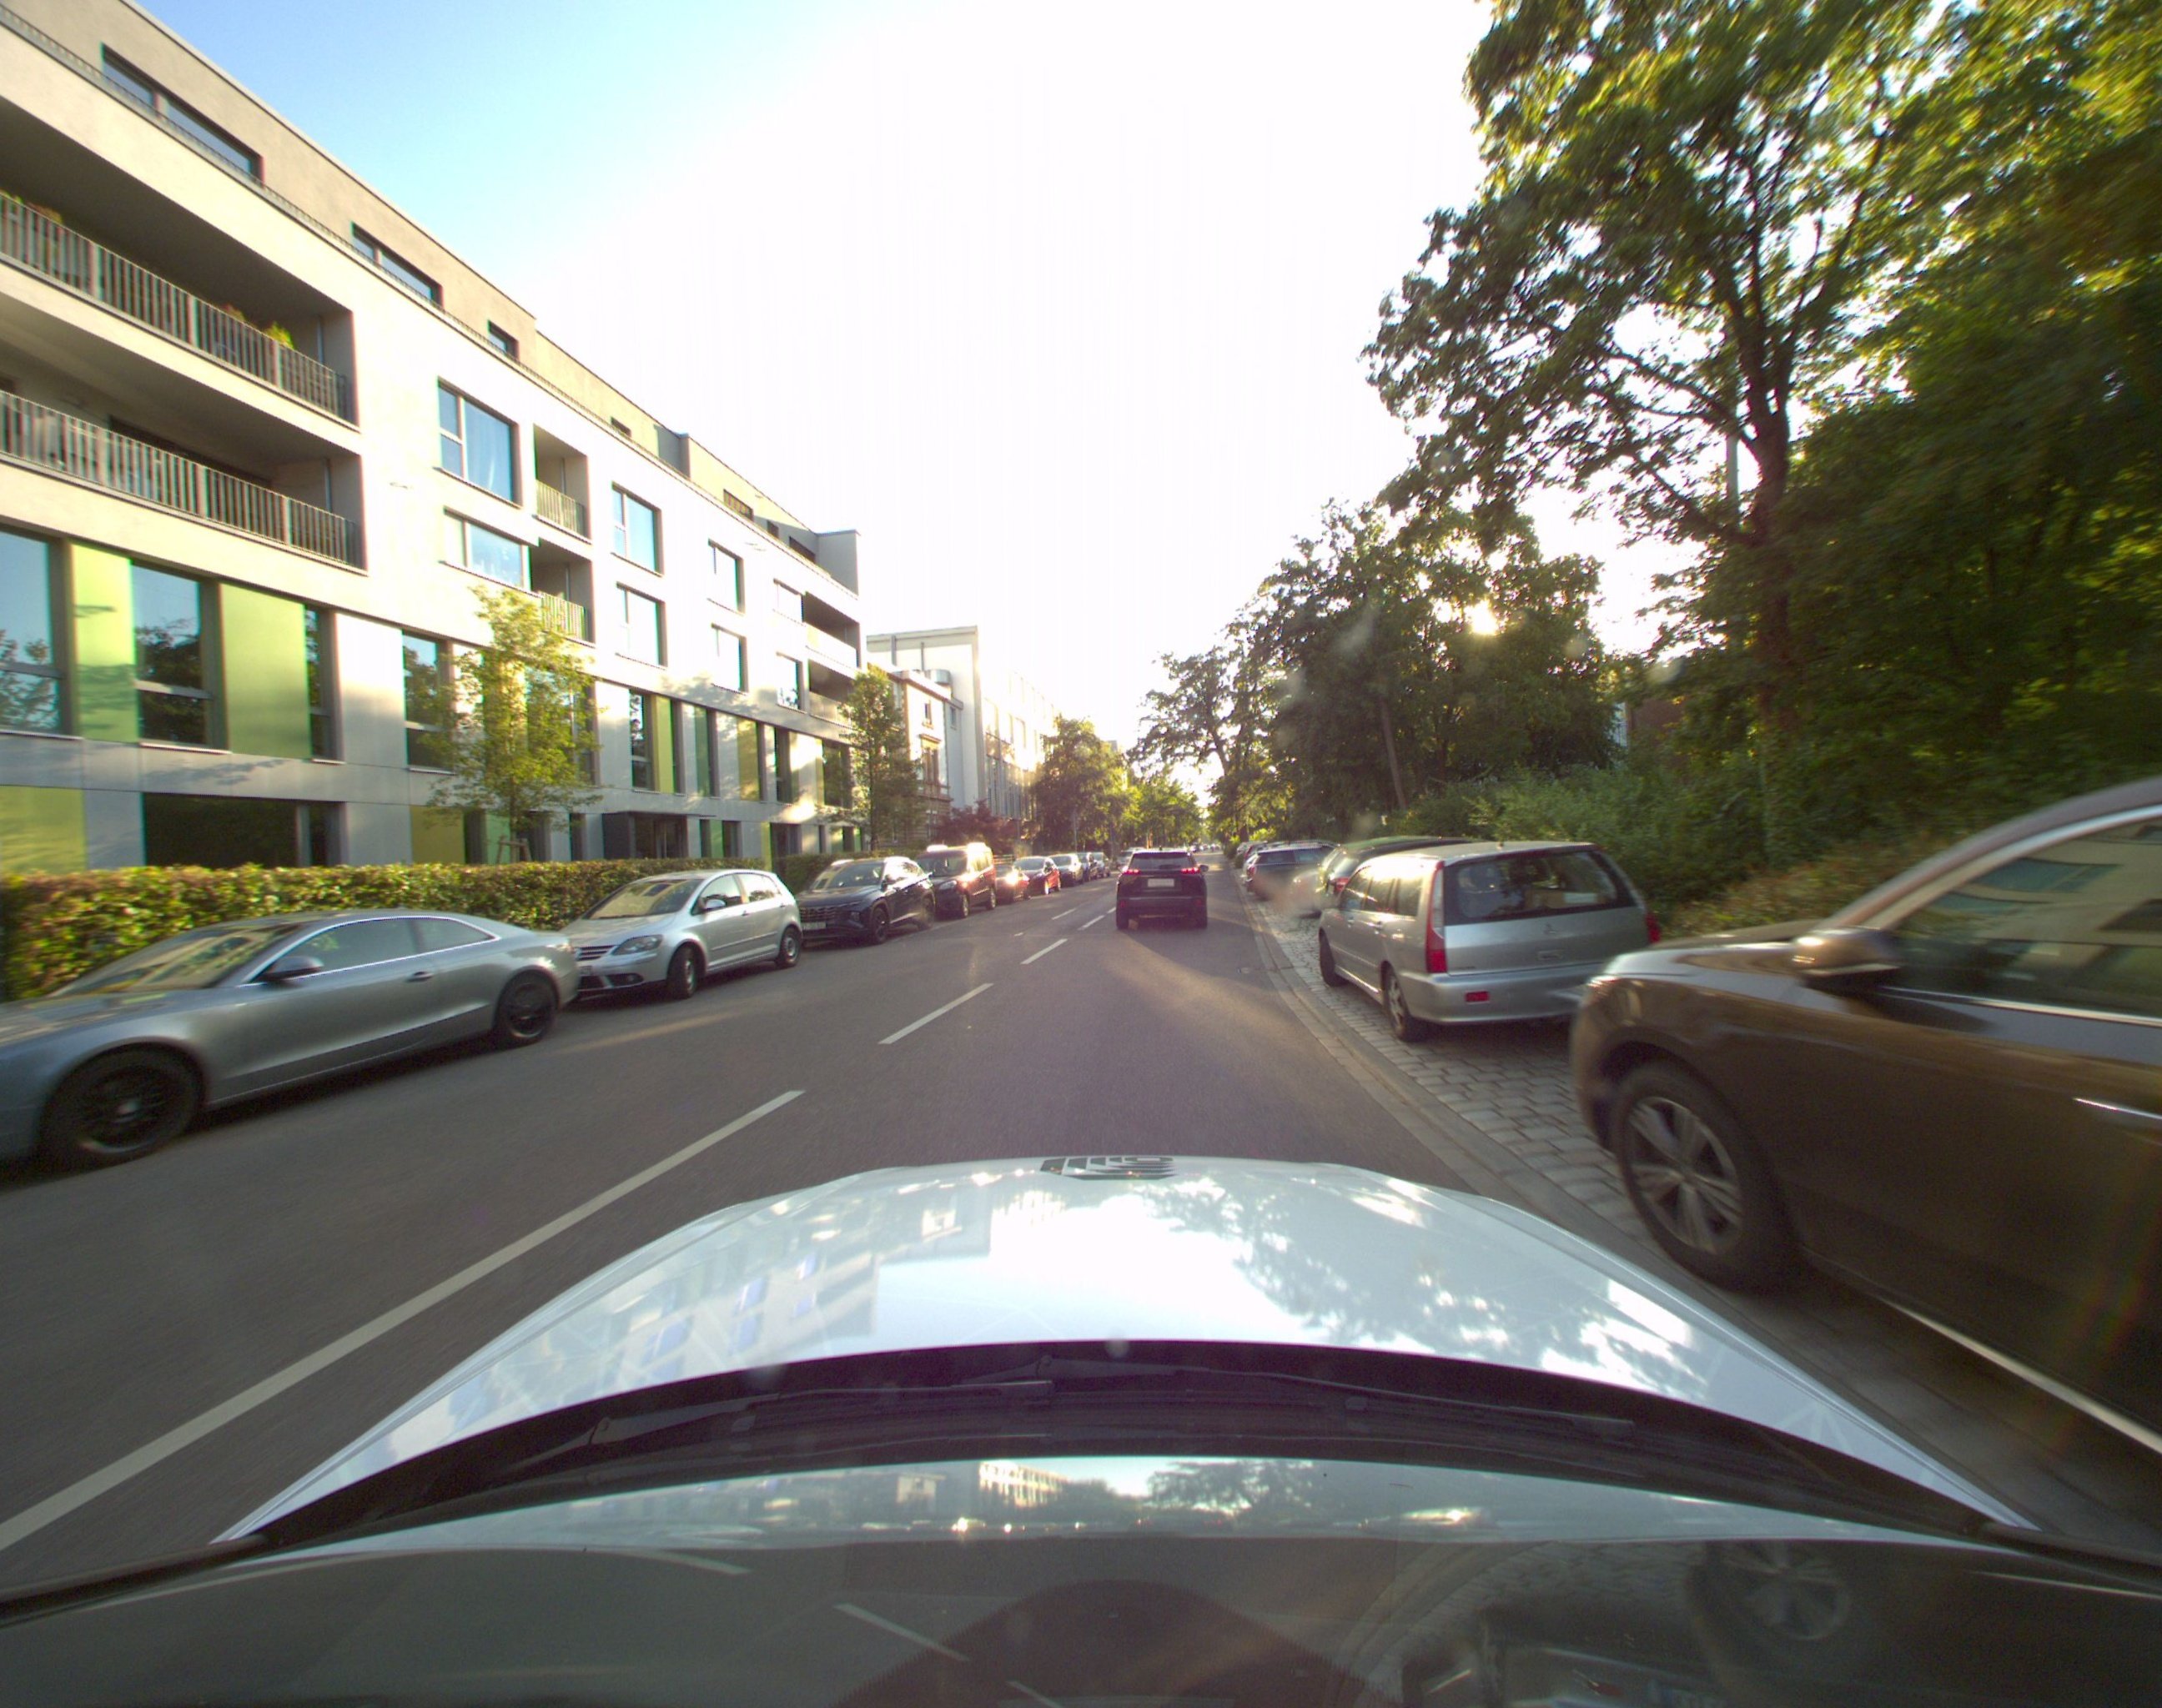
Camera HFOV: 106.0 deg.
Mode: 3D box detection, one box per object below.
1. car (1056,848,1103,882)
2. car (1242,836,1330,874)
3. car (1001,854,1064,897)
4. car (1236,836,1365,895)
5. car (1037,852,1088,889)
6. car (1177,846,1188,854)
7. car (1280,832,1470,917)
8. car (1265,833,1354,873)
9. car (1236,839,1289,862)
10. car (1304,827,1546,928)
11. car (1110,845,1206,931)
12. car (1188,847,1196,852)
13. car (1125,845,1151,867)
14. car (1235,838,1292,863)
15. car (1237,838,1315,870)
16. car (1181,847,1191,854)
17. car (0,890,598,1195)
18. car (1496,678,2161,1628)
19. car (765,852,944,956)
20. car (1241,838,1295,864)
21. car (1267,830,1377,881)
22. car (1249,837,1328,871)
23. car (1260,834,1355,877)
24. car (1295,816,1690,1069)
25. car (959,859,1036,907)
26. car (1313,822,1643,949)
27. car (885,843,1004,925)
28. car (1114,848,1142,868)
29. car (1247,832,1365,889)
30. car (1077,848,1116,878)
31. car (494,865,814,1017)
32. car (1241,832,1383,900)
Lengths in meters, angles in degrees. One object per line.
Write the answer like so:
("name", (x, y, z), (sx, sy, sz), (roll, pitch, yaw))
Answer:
("car", (-0.030, 0.538, 42.567), (1.588, 1.507, 3.800), (-4, 0, 12))
("car", (10.313, 0.044, 41.230), (4.094, 1.474, 1.837), (-5, 0, 11))
("car", (-1.811, 0.779, 31.579), (1.589, 1.455, 3.871), (-3, 0, 9))
("car", (6.841, 0.349, 25.683), (3.646, 1.444, 1.739), (-6, 0, 7))
("car", (-0.781, 0.716, 37.669), (1.589, 1.455, 4.065), (-4, 0, 9))
("car", (19.044, -0.760, 152.346), (1.802, 1.354, 4.006), (-3, 0, 5))
("car", (5.979, 0.423, 16.888), (3.366, 1.525, 1.675), (-3, -1, 7))
("car", (10.736, -0.042, 38.452), (3.784, 1.474, 1.837), (-6, -1, 10))
("car", (14.832, -0.290, 66.611), (4.141, 1.710, 1.874), (-2, 0, 13))
("car", (5.896, 0.397, 14.351), (3.604, 1.540, 1.676), (-3, 1, 10))
("car", (1.670, 0.604, 16.726), (1.758, 1.568, 3.389), (0, 1, 8))
("car", (27.535, -1.119, 201.909), (1.801, 1.354, 4.007), (-3, 0, 6))
("car", (4.910, 0.138, 69.977), (1.669, 1.708, 4.353), (-4, 0, 10))
("car", (13.847, -0.244, 61.957), (4.097, 1.667, 1.727), (-3, 0, 9))
("car", (11.628, -0.010, 48.799), (4.310, 1.475, 1.747), (-5, 1, 10))
("car", (20.415, -0.676, 158.469), (1.801, 1.354, 4.007), (-3, 0, 6))
("car", (-6.159, 1.113, 6.207), (1.731, 1.356, 4.409), (-3, 0, 10))
("car", (2.912, 0.507, 1.424), (1.916, 1.748, 4.665), (-3, 0, 0))
("car", (-4.411, 0.896, 16.651), (1.732, 1.676, 4.428), (-4, 0, 9))
("car", (13.622, -0.208, 59.475), (3.568, 1.566, 1.823), (-5, -1, 8))
("car", (9.015, 0.079, 30.756), (3.702, 1.498, 1.825), (-6, -1, 10))
("car", (11.173, -0.010, 44.078), (3.899, 1.454, 1.837), (-5, 0, 11))
("car", (9.866, 0.060, 35.723), (3.784, 1.474, 1.761), (-6, -1, 10))
("car", (3.236, 0.571, 7.457), (1.643, 1.567, 4.306), (-3, 0, 4))
("car", (-2.682, 0.922, 26.915), (1.547, 1.280, 3.742), (-4, 0, 9))
("car", (5.545, 0.434, 11.848), (3.926, 1.512, 1.744), (-3, 0, 9))
("car", (-3.568, 0.713, 22.129), (1.797, 1.889, 4.249), (-4, 0, 9))
("car", (3.740, 0.304, 64.477), (1.660, 1.493, 4.073), (-2, 0, 10))
("car", (7.723, 0.214, 28.262), (3.646, 1.552, 1.739), (-6, 0, 7))
("car", (0.936, 0.485, 46.985), (1.591, 1.493, 3.783), (-4, 0, 10))
("car", (-5.482, 1.008, 11.176), (1.732, 1.533, 4.125), (-3, 0, 8))
("car", (6.526, 0.325, 23.311), (3.590, 1.525, 1.675), (-6, 0, 7))
